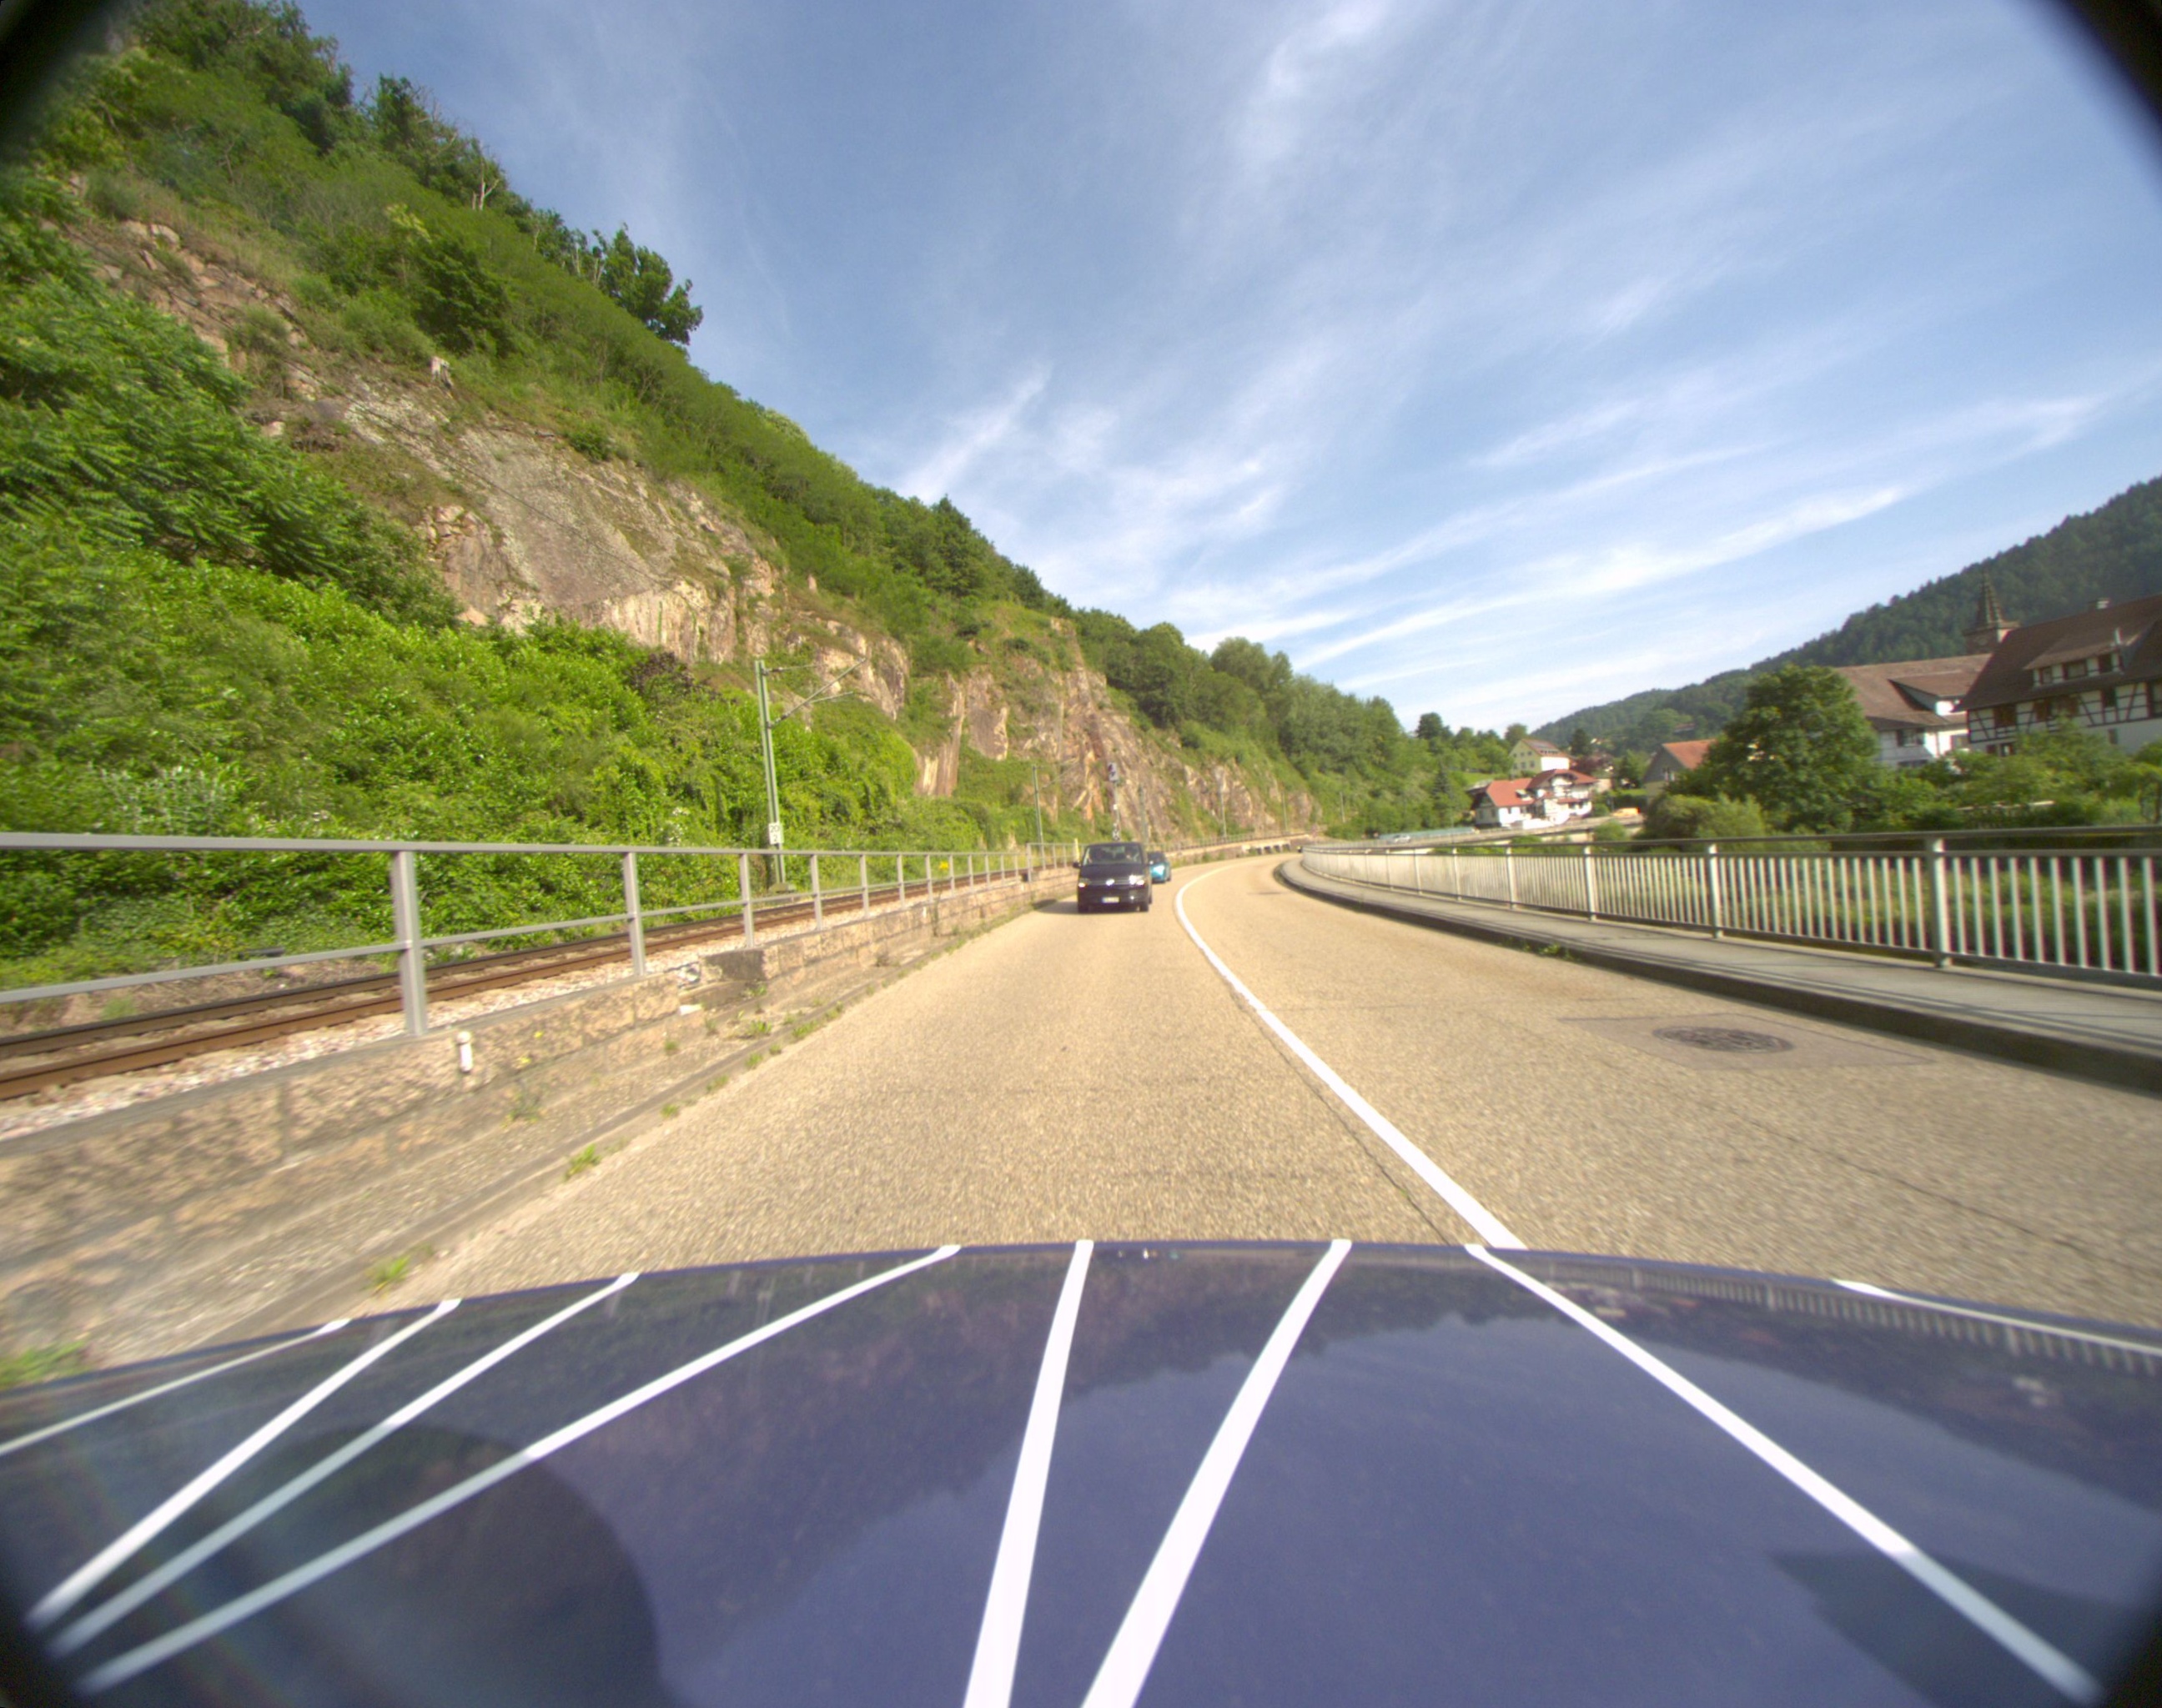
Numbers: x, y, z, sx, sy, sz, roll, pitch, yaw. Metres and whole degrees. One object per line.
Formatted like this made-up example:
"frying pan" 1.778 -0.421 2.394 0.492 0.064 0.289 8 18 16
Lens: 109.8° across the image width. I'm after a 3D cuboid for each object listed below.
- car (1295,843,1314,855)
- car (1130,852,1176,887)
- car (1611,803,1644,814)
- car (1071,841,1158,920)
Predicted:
"car" 31.379 -0.691 106.618 1.700 1.512 3.479 1 -1 28
"car" 3.643 0.727 38.070 1.681 1.513 3.869 -4 0 13
"car" 102.761 -8.535 142.902 4.831 1.986 1.914 -1 1 -1
"car" 1.096 0.662 21.888 1.886 1.952 4.869 -2 0 9
